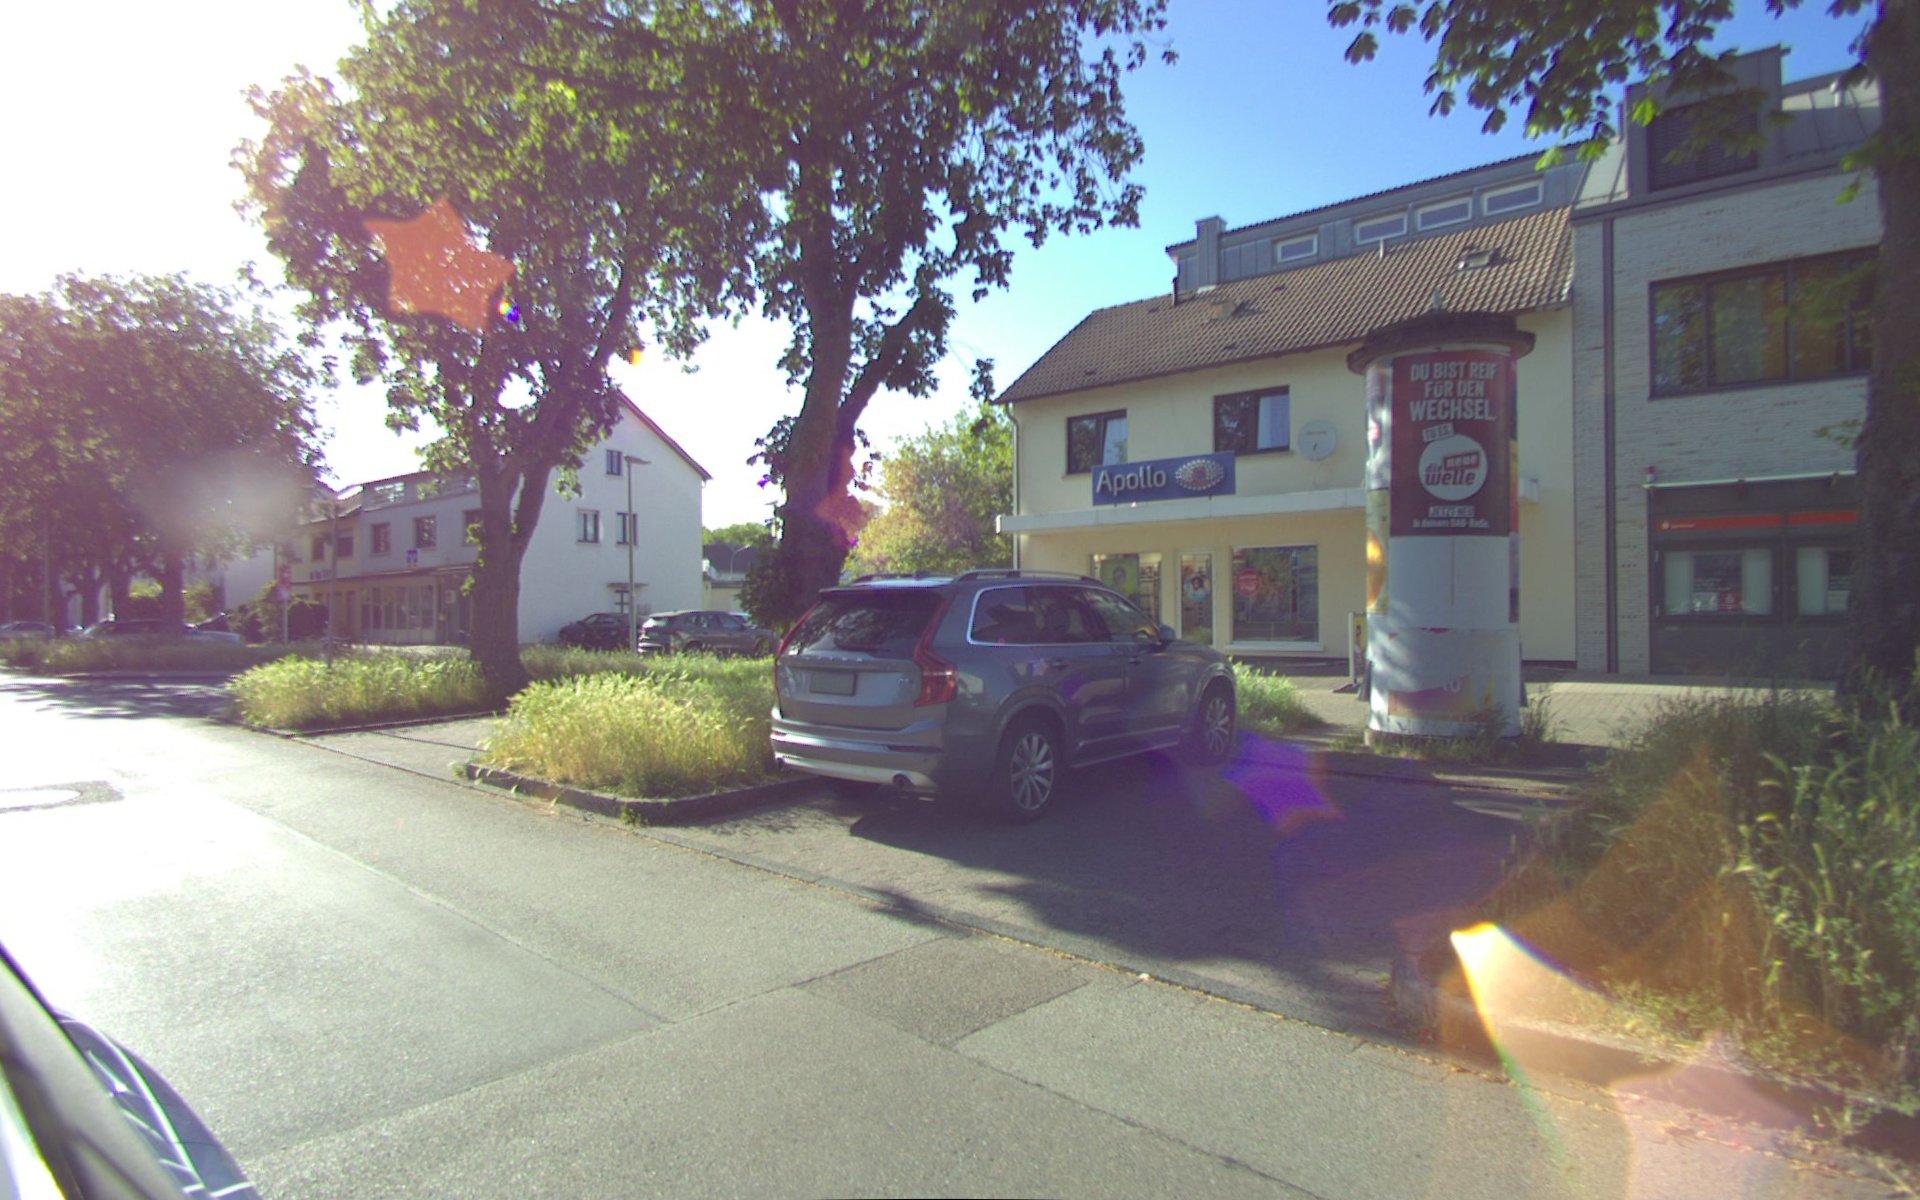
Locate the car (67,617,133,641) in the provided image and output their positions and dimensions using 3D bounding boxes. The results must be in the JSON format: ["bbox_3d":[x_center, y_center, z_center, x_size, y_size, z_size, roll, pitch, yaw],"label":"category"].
[{"bbox_3d":[-73.131,2.441,86.106,1.999,1.696,3.947,-1,3,41],"label":"car"}]

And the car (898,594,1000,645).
[{"bbox_3d":[-0.390,0.751,40.153,1.998,1.843,3.948,-1,1,39],"label":"car"}]

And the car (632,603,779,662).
[{"bbox_3d":[-7.597,0.966,30.514,1.996,1.650,3.952,-1,-1,35],"label":"car"}]

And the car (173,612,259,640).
[{"bbox_3d":[-42.473,1.470,57.820,1.692,1.577,3.722,0,-1,45],"label":"car"}]

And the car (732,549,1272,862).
[{"bbox_3d":[0.729,0.534,8.552,1.997,1.740,5.015,-1,3,38],"label":"car"}]

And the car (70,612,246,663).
[{"bbox_3d":[-27.013,1.213,34.187,1.999,1.426,4.337,-1,1,41],"label":"car"}]

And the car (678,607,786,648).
[{"bbox_3d":[-9.632,1.104,42.535,4.661,1.539,1.855,1,1,37],"label":"car"}]

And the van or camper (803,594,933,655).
[{"bbox_3d":[-3.231,0.831,36.368,1.998,2.029,4.626,-1,0,39],"label":"van or camper"}]

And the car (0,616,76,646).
[{"bbox_3d":[-47.816,1.587,51.767,1.622,1.333,3.652,-1,2,36],"label":"car"}]

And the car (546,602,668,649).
[{"bbox_3d":[-13.434,0.920,38.390,4.901,1.575,1.975,1,1,37],"label":"car"}]
